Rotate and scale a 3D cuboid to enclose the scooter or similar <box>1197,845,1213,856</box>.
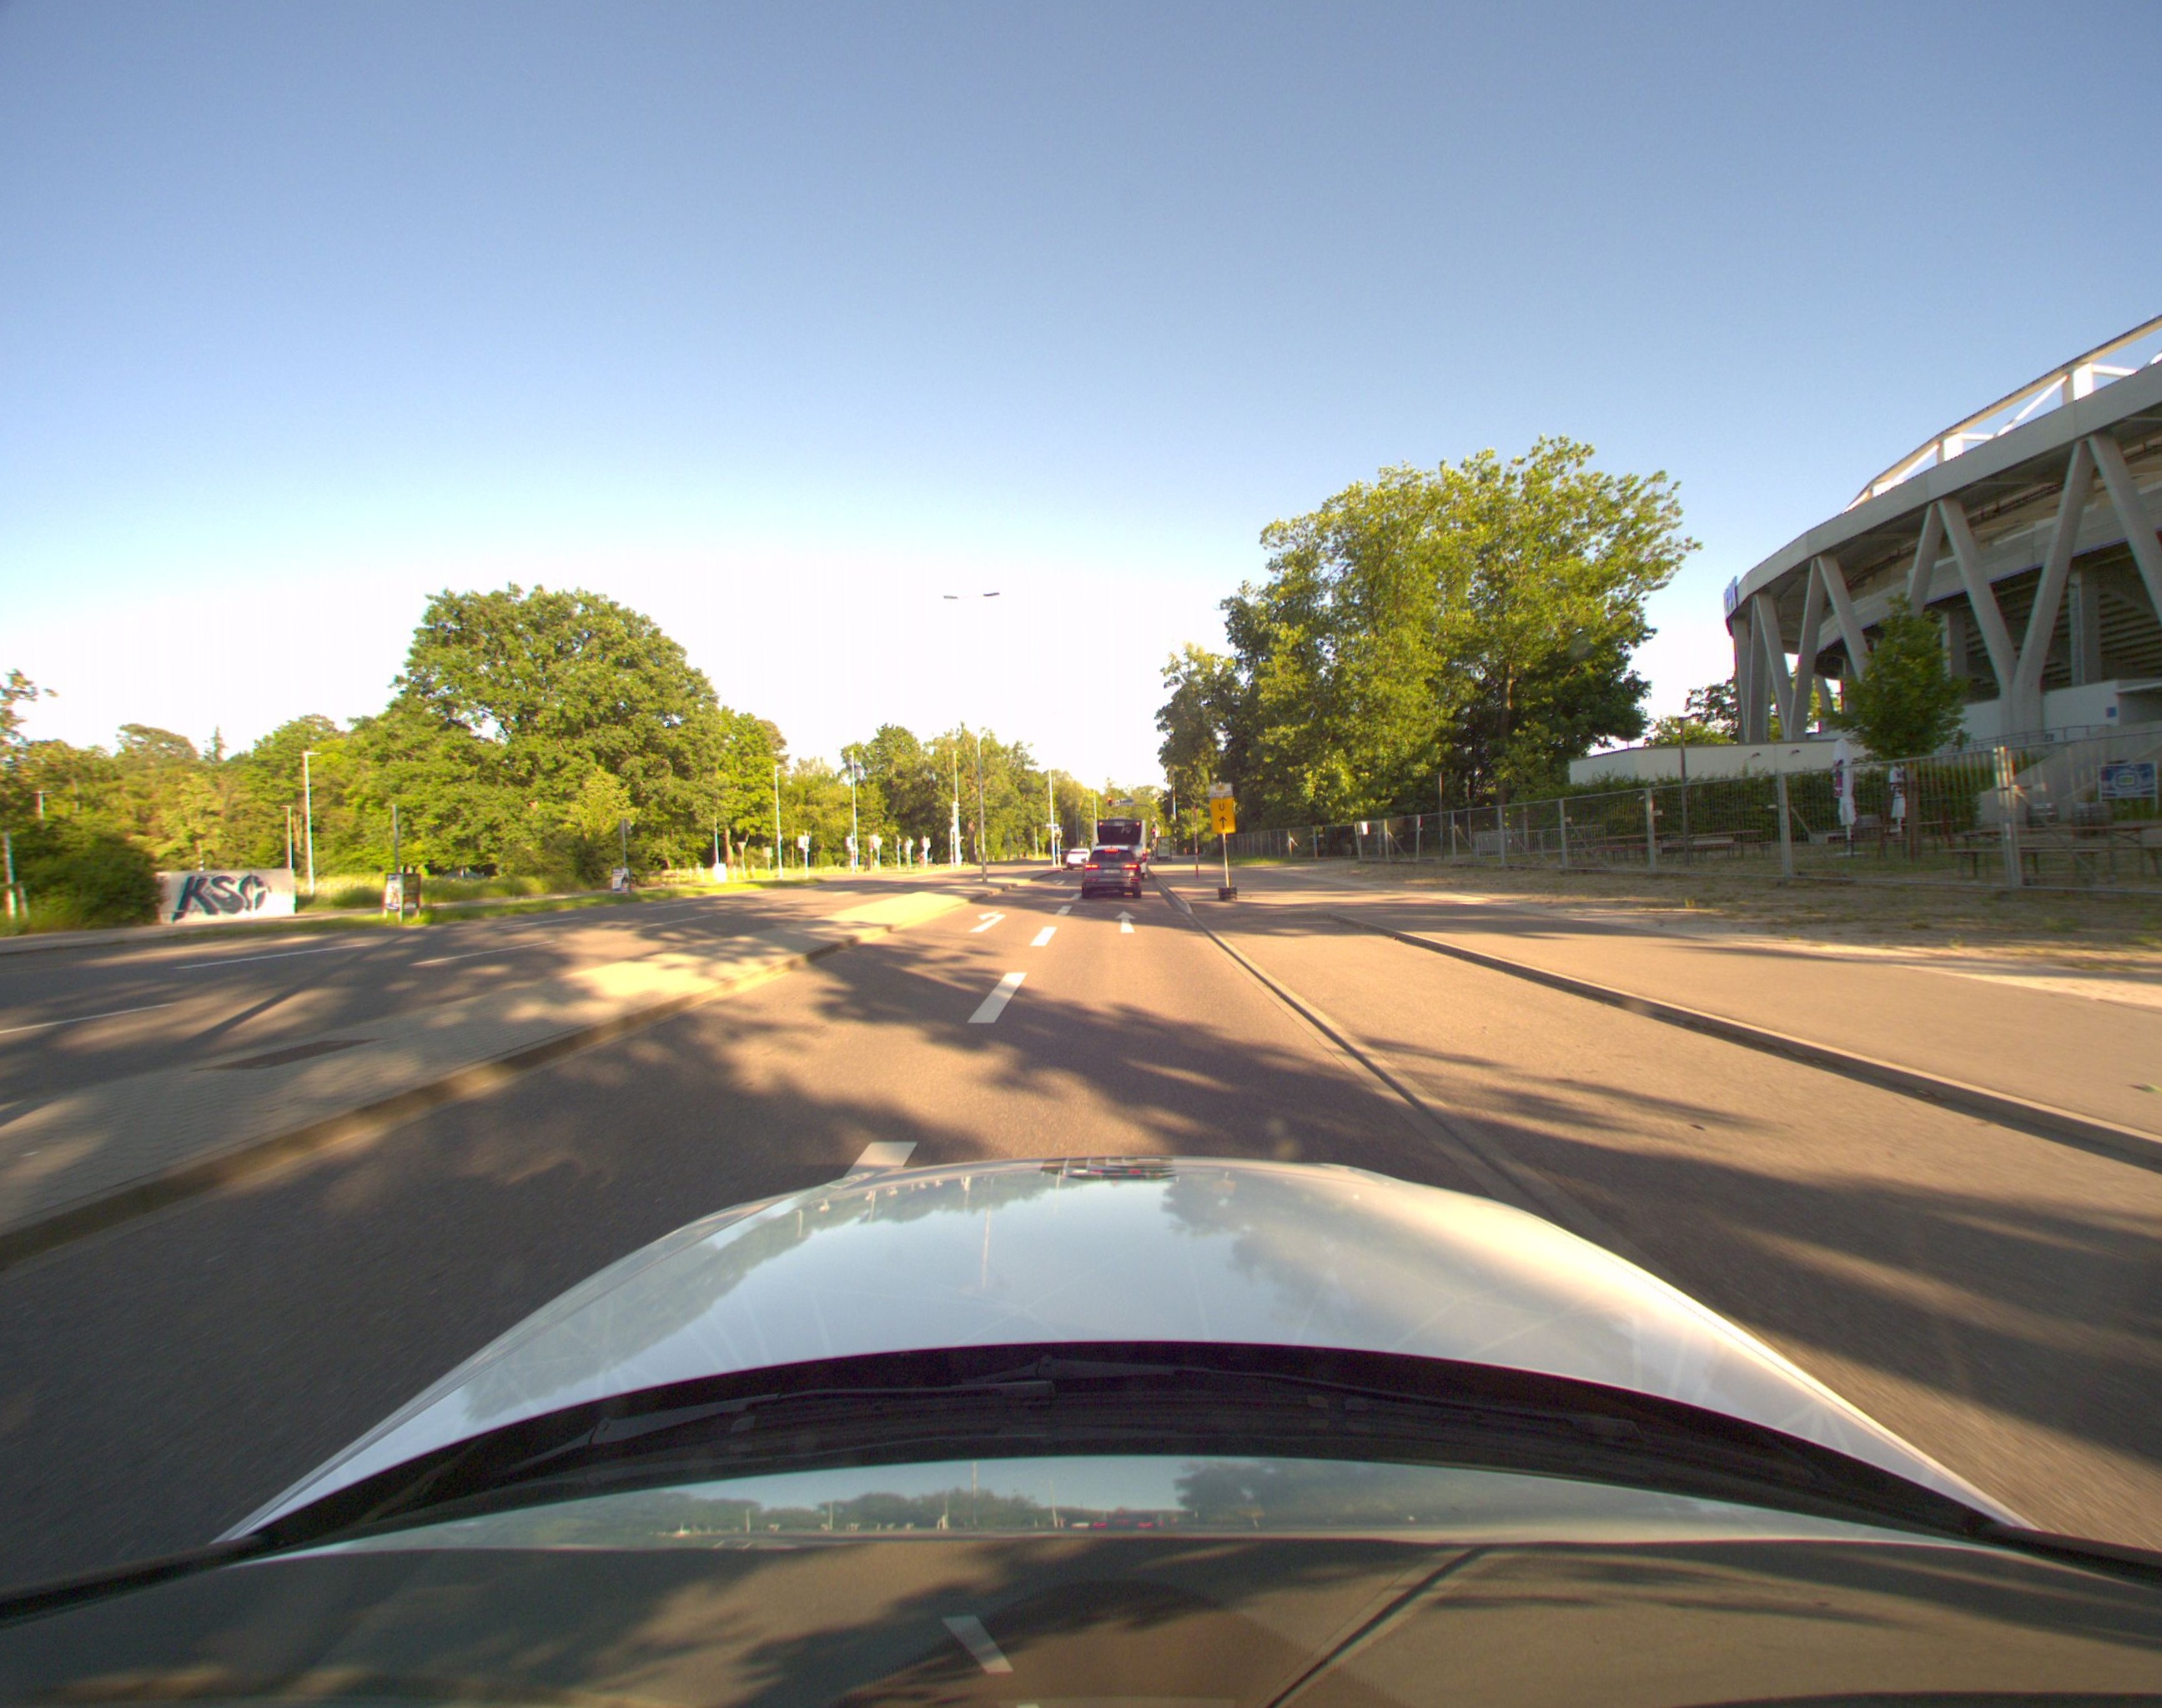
[{"bbox_3d":[16.832,-0.512,110.637,2.024,1.444,0.601,-3,0,-22],"label":"scooter or similar"}]

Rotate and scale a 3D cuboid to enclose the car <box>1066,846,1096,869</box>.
[{"bbox_3d":[0.032,0.224,58.406,1.828,1.518,4.004,-2,0,3],"label":"car"}]

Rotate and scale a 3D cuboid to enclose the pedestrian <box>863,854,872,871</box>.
[{"bbox_3d":[-20.025,0.794,76.355,0.652,1.560,0.533,-3,0,-39],"label":"pedestrian"}]

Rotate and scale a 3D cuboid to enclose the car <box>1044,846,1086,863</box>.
[{"bbox_3d":[-1.695,0.078,87.550,4.004,1.640,2.050,-3,0,-22],"label":"car"}]

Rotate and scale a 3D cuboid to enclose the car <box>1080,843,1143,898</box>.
[{"bbox_3d":[1.042,0.474,26.582,1.890,1.632,4.004,-1,0,3],"label":"car"}]

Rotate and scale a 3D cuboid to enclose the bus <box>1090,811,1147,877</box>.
[{"bbox_3d":[2.012,-0.457,42.199,2.584,2.989,9.335,-1,0,3],"label":"bus"}]
